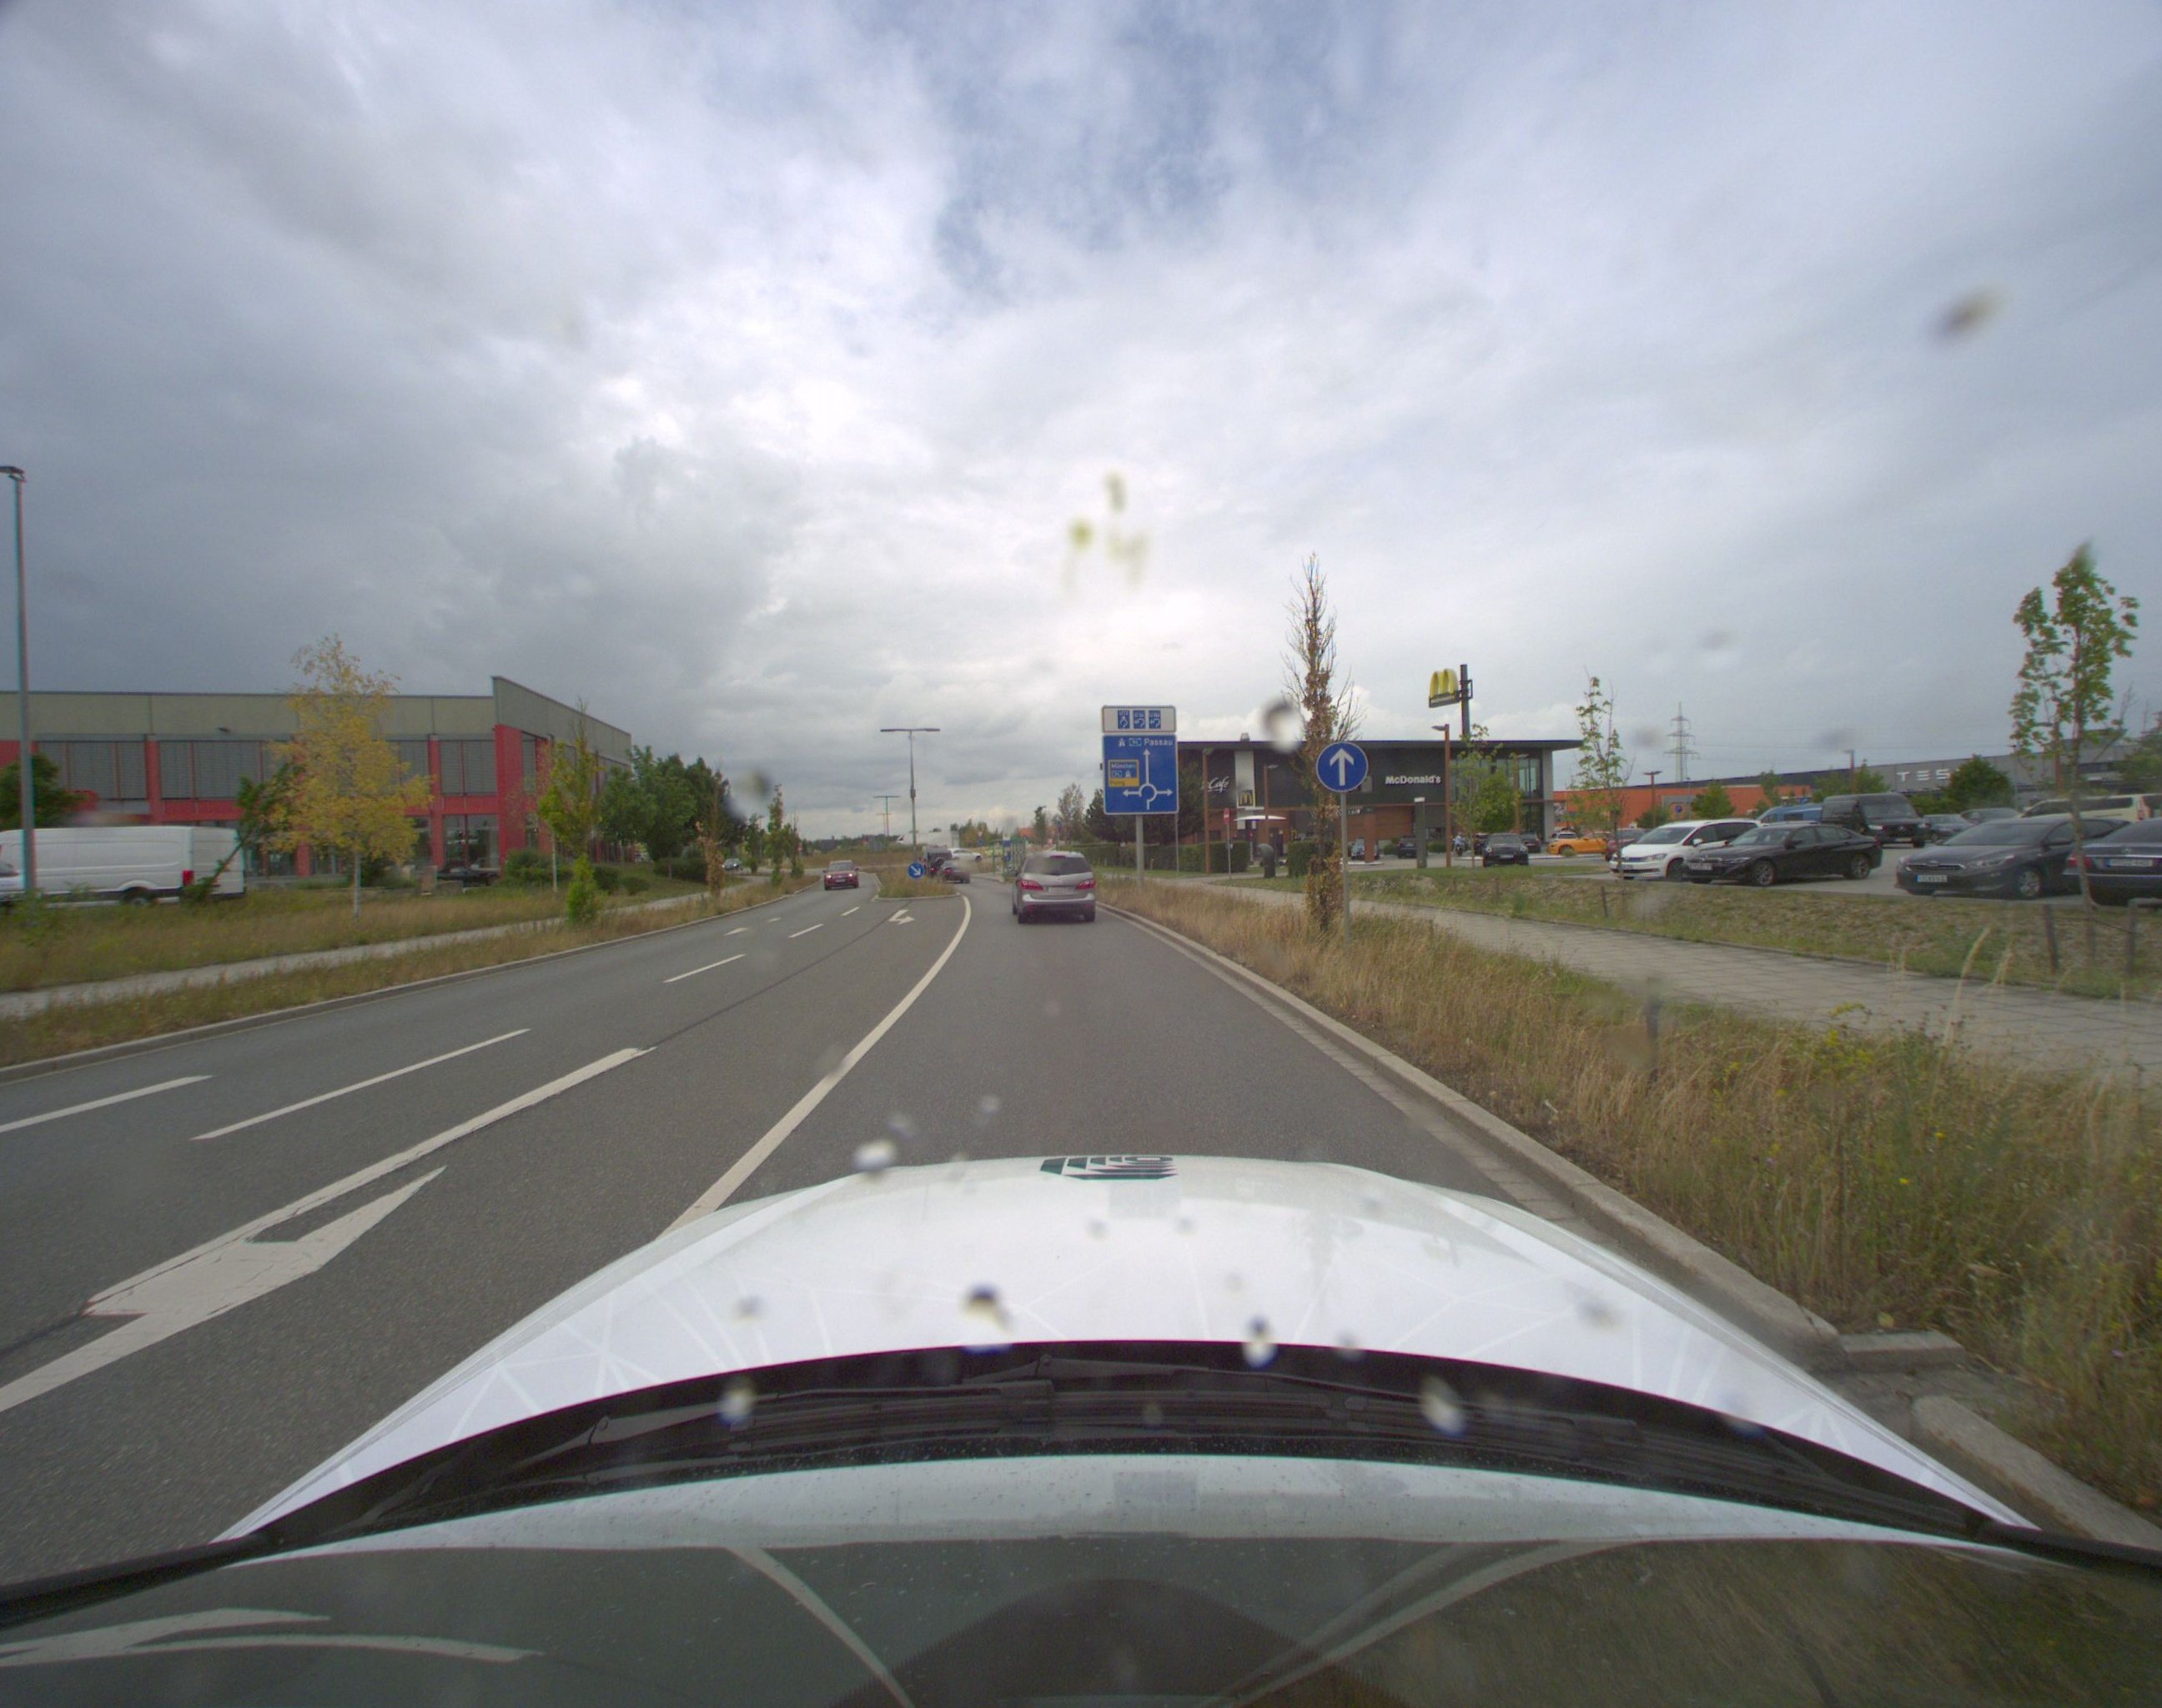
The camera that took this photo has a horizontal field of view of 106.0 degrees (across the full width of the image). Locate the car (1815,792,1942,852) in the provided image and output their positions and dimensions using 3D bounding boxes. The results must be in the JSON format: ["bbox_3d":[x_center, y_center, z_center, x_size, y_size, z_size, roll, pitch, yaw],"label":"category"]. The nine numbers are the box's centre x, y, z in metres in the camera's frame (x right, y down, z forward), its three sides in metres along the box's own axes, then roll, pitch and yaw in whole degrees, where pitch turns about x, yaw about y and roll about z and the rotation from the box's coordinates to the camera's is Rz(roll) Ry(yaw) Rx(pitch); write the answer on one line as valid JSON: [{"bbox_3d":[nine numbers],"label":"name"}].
[{"bbox_3d":[38.024,-1.498,39.132,2.252,2.501,7.373,-2,1,27],"label":"car"}]

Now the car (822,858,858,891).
[{"bbox_3d":[-14.002,1.155,47.317,1.803,1.669,4.301,-5,1,-17],"label":"car"}]

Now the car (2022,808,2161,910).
[{"bbox_3d":[17.995,-0.013,12.825,4.514,1.469,2.027,-2,1,-8],"label":"car"}]

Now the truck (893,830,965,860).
[{"bbox_3d":[-21.252,-1.238,113.928,9.235,3.906,3.156,-2,0,15],"label":"truck"}]

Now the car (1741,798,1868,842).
[{"bbox_3d":[47.153,-2.173,53.309,5.968,2.528,2.296,-2,1,35],"label":"car"}]

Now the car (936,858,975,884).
[{"bbox_3d":[-7.546,0.979,48.636,1.848,1.418,4.203,-2,1,-15],"label":"car"}]

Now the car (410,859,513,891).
[{"bbox_3d":[-34.815,1.145,45.832,4.413,1.552,1.975,-2,0,-44],"label":"car"}]

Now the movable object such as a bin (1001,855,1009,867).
[{"bbox_3d":[-5.242,0.465,55.881,0.457,0.798,0.378,-2,0,-16],"label":"movable object such as a bin"}]

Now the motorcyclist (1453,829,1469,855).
[{"bbox_3d":[27.251,-0.884,58.453,0.952,1.832,0.850,-1,0,23],"label":"motorcyclist"}]

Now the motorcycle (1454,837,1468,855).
[{"bbox_3d":[27.261,-0.585,58.439,0.849,1.244,1.977,-1,0,23],"label":"motorcycle"}]

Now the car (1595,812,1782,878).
[{"bbox_3d":[17.263,-0.280,23.219,4.352,1.639,1.929,-2,1,-14],"label":"car"}]

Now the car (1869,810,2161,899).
[{"bbox_3d":[18.067,-0.022,15.804,4.083,1.438,1.937,-3,1,-10],"label":"car"}]

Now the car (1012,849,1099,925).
[{"bbox_3d":[-0.699,0.698,19.325,1.728,1.600,3.798,-1,0,-6],"label":"car"}]

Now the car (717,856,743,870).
[{"bbox_3d":[-39.542,1.013,91.787,1.843,1.407,3.982,-4,1,-13],"label":"car"}]

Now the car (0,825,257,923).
[{"bbox_3d":[-28.773,0.575,23.742,6.411,2.598,2.235,-2,0,-12],"label":"car"}]

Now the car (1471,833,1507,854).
[{"bbox_3d":[30.037,-0.770,60.028,1.770,1.497,4.019,-1,0,18],"label":"car"}]

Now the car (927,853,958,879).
[{"bbox_3d":[-10.516,0.856,61.671,2.060,1.826,4.766,-2,0,-12],"label":"car"}]

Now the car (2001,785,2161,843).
[{"bbox_3d":[45.349,-1.739,36.174,2.519,2.351,5.691,-2,1,0],"label":"car"}]

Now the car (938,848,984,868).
[{"bbox_3d":[-13.031,0.446,88.601,4.649,2.013,1.976,-2,0,-41],"label":"car"}]

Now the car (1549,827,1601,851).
[{"bbox_3d":[37.188,-1.156,61.319,4.019,1.722,1.977,-2,0,-37],"label":"car"}]

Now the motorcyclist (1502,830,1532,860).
[{"bbox_3d":[20.257,-0.412,37.841,0.780,1.334,0.893,-2,0,-11],"label":"motorcyclist"}]

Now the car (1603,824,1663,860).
[{"bbox_3d":[24.661,-0.563,36.478,1.980,1.429,4.181,-2,1,31],"label":"car"}]

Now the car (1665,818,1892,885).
[{"bbox_3d":[17.671,-0.091,20.737,4.469,1.436,2.066,-2,1,-11],"label":"car"}]

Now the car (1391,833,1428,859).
[{"bbox_3d":[23.726,-0.579,58.716,2.096,1.717,4.256,-1,0,26],"label":"car"}]

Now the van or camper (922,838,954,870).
[{"bbox_3d":[-12.105,-0.005,68.755,2.305,2.506,5.182,-1,0,-13],"label":"van or camper"}]

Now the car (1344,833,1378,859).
[{"bbox_3d":[19.811,-0.543,57.454,1.976,1.717,4.022,-1,0,22],"label":"car"}]

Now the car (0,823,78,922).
[{"bbox_3d":[-28.054,0.521,18.781,6.074,2.307,2.201,-2,0,-13],"label":"car"}]

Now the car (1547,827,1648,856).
[{"bbox_3d":[29.052,-0.687,46.006,4.673,1.443,2.012,-2,0,28],"label":"car"}]

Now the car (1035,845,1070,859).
[{"bbox_3d":[-3.894,-0.220,110.161,4.594,1.757,1.997,-2,0,-5],"label":"car"}]

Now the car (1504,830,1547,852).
[{"bbox_3d":[33.015,-0.969,60.601,1.978,1.581,4.018,-1,0,16],"label":"car"}]

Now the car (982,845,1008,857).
[{"bbox_3d":[-11.553,-0.373,109.505,2.007,1.515,3.960,-2,0,-31],"label":"car"}]

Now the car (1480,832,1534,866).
[{"bbox_3d":[17.975,-0.240,34.484,1.795,1.313,3.872,-2,1,25],"label":"car"}]

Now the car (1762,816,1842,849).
[{"bbox_3d":[34.607,-1.030,39.234,1.931,1.443,4.245,-2,0,28],"label":"car"}]
